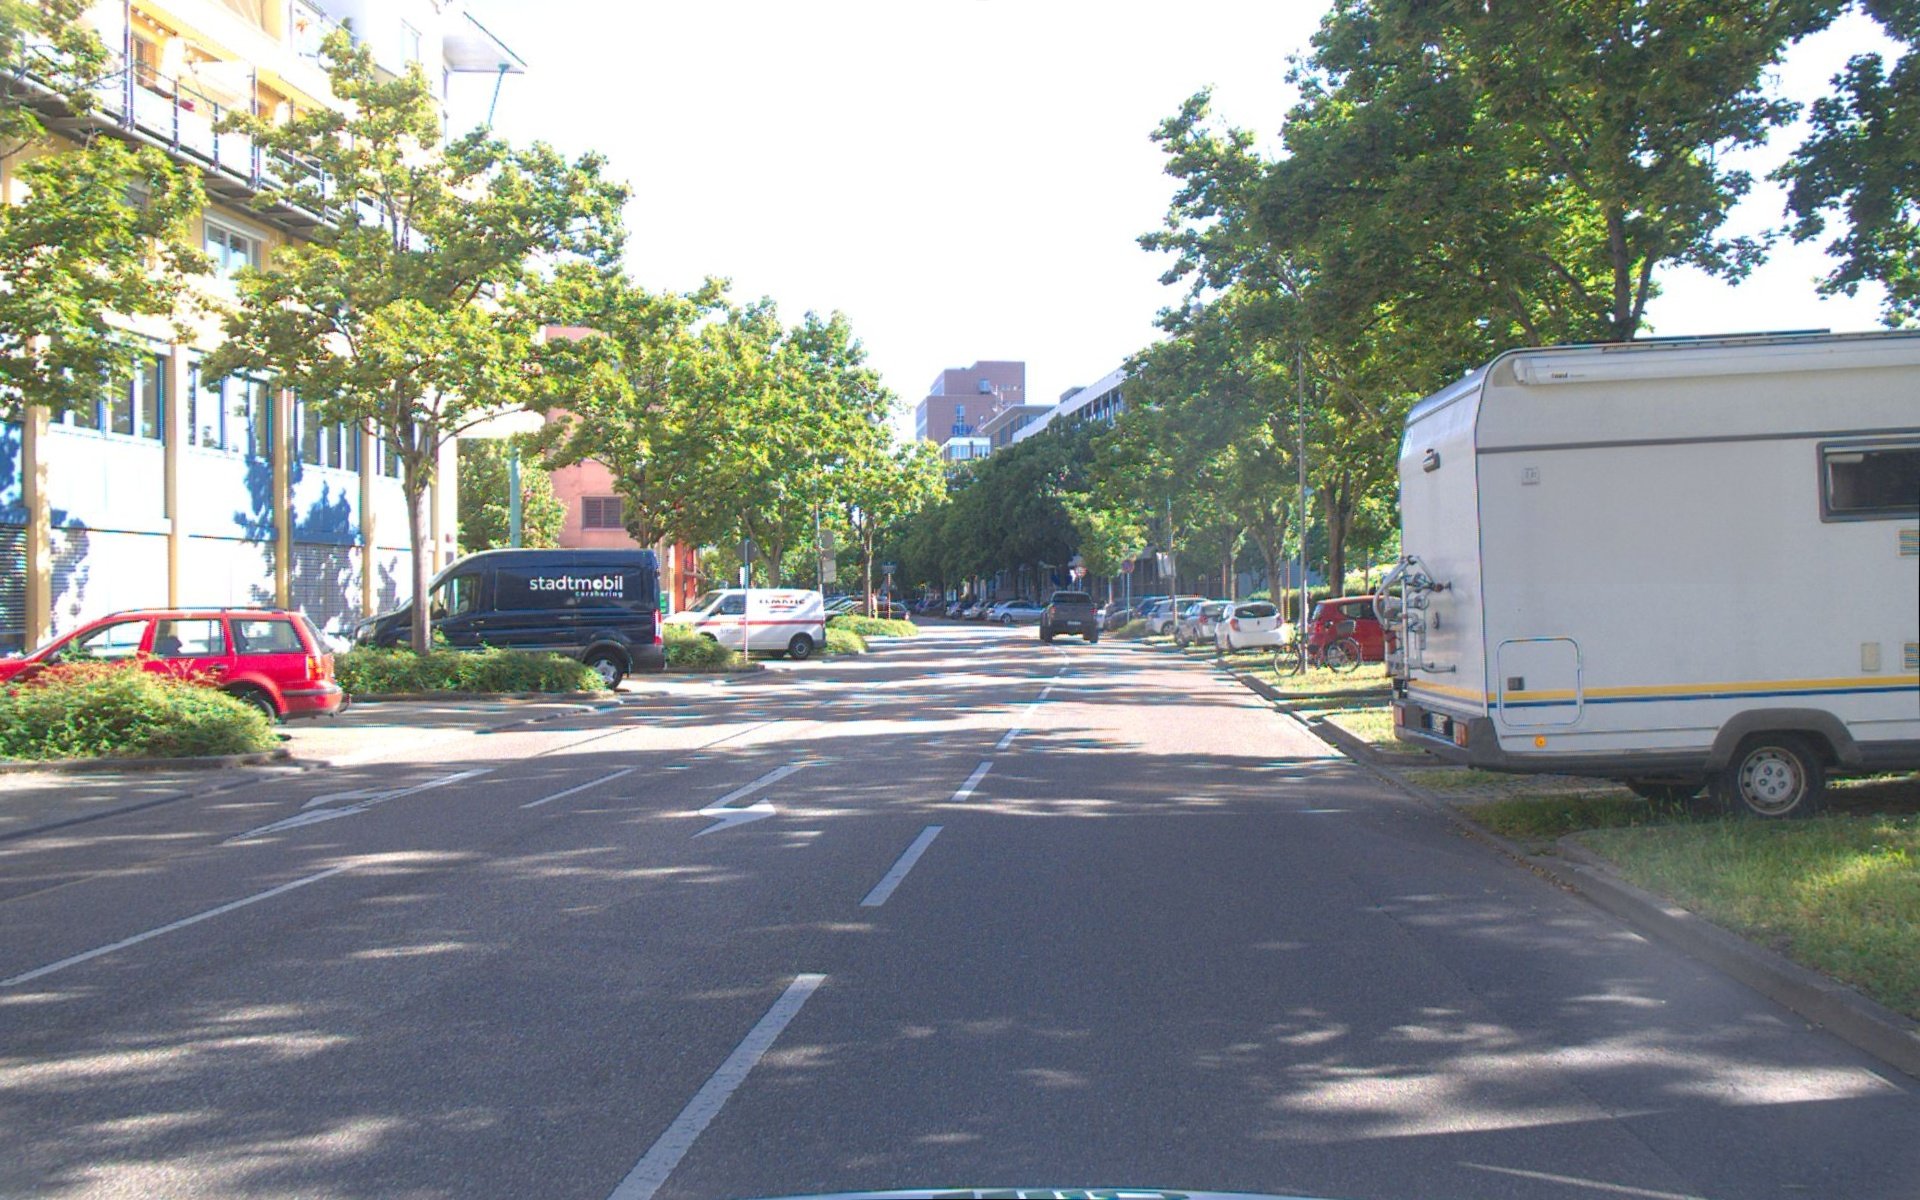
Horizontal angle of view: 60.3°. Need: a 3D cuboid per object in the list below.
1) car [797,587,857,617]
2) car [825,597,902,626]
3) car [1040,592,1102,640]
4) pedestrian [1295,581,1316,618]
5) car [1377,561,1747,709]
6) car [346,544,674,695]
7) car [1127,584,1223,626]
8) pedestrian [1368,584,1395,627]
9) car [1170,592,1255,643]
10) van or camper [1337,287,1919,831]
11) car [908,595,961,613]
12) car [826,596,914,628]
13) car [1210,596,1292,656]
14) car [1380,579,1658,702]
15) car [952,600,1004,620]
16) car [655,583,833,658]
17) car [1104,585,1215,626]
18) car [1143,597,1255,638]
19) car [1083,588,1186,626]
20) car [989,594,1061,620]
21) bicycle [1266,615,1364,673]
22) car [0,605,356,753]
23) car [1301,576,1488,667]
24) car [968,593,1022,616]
[{"bbox_3d":[-10.002,0.159,124.356,4.401,2.126,2.080,1,0,-5],"label":"car"},{"bbox_3d":[-4.981,0.588,84.908,3.818,1.448,1.737,1,0,-7],"label":"car"},{"bbox_3d":[4.073,0.588,61.294,1.953,1.668,3.999,1,0,-1],"label":"car"},{"bbox_3d":[14.535,-0.020,69.593,0.595,1.569,0.936,-1,0,-5],"label":"pedestrian"},{"bbox_3d":[7.672,0.438,21.441,4.105,1.573,1.860,-4,0,6],"label":"car"},{"bbox_3d":[-7.967,0.317,29.286,5.410,2.479,2.172,0,0,-22],"label":"car"},{"bbox_3d":[9.237,0.202,71.327,3.732,1.473,1.743,-5,0,-5],"label":"car"},{"bbox_3d":[16.024,0.202,62.877,0.709,1.615,0.852,-1,0,-5],"label":"pedestrian"},{"bbox_3d":[8.331,0.546,54.940,1.774,1.519,4.620,-3,0,-4],"label":"car"},{"bbox_3d":[5.766,-0.319,11.027,5.857,3.036,2.672,-3,0,4],"label":"van or camper"},{"bbox_3d":[-2.445,0.371,155.586,4.736,1.444,2.028,-2,0,-9],"label":"car"},{"bbox_3d":[-4.361,0.583,80.043,4.178,1.448,1.738,1,0,-4],"label":"car"},{"bbox_3d":[8.174,0.694,46.690,1.609,1.519,3.765,-3,0,0],"label":"car"},{"bbox_3d":[8.101,0.571,24.208,3.390,1.505,1.859,-4,0,2],"label":"car"},{"bbox_3d":[1.429,0.771,132.766,3.897,1.444,1.707,-2,0,-9],"label":"car"},{"bbox_3d":[-6.151,0.547,47.262,4.709,2.020,1.979,0,1,-32],"label":"car"},{"bbox_3d":[8.872,0.233,73.789,4.463,1.541,2.155,-3,0,-7],"label":"car"},{"bbox_3d":[9.102,0.660,63.154,4.005,1.454,1.642,-1,0,0],"label":"car"},{"bbox_3d":[8.330,0.320,79.105,4.472,1.541,1.975,-3,0,-13],"label":"car"},{"bbox_3d":[4.286,0.447,108.860,4.491,1.501,1.744,-3,0,-7],"label":"car"},{"bbox_3d":[6.654,0.828,30.977,1.714,1.008,0.530,-3,0,17],"label":"bicycle"},{"bbox_3d":[-8.972,0.825,18.459,4.161,1.501,1.758,0,0,-22],"label":"car"},{"bbox_3d":[8.744,0.433,33.501,3.362,1.571,1.628,-4,0,6],"label":"car"},{"bbox_3d":[2.604,0.353,123.709,3.678,1.519,1.612,-2,0,-13],"label":"car"}]
